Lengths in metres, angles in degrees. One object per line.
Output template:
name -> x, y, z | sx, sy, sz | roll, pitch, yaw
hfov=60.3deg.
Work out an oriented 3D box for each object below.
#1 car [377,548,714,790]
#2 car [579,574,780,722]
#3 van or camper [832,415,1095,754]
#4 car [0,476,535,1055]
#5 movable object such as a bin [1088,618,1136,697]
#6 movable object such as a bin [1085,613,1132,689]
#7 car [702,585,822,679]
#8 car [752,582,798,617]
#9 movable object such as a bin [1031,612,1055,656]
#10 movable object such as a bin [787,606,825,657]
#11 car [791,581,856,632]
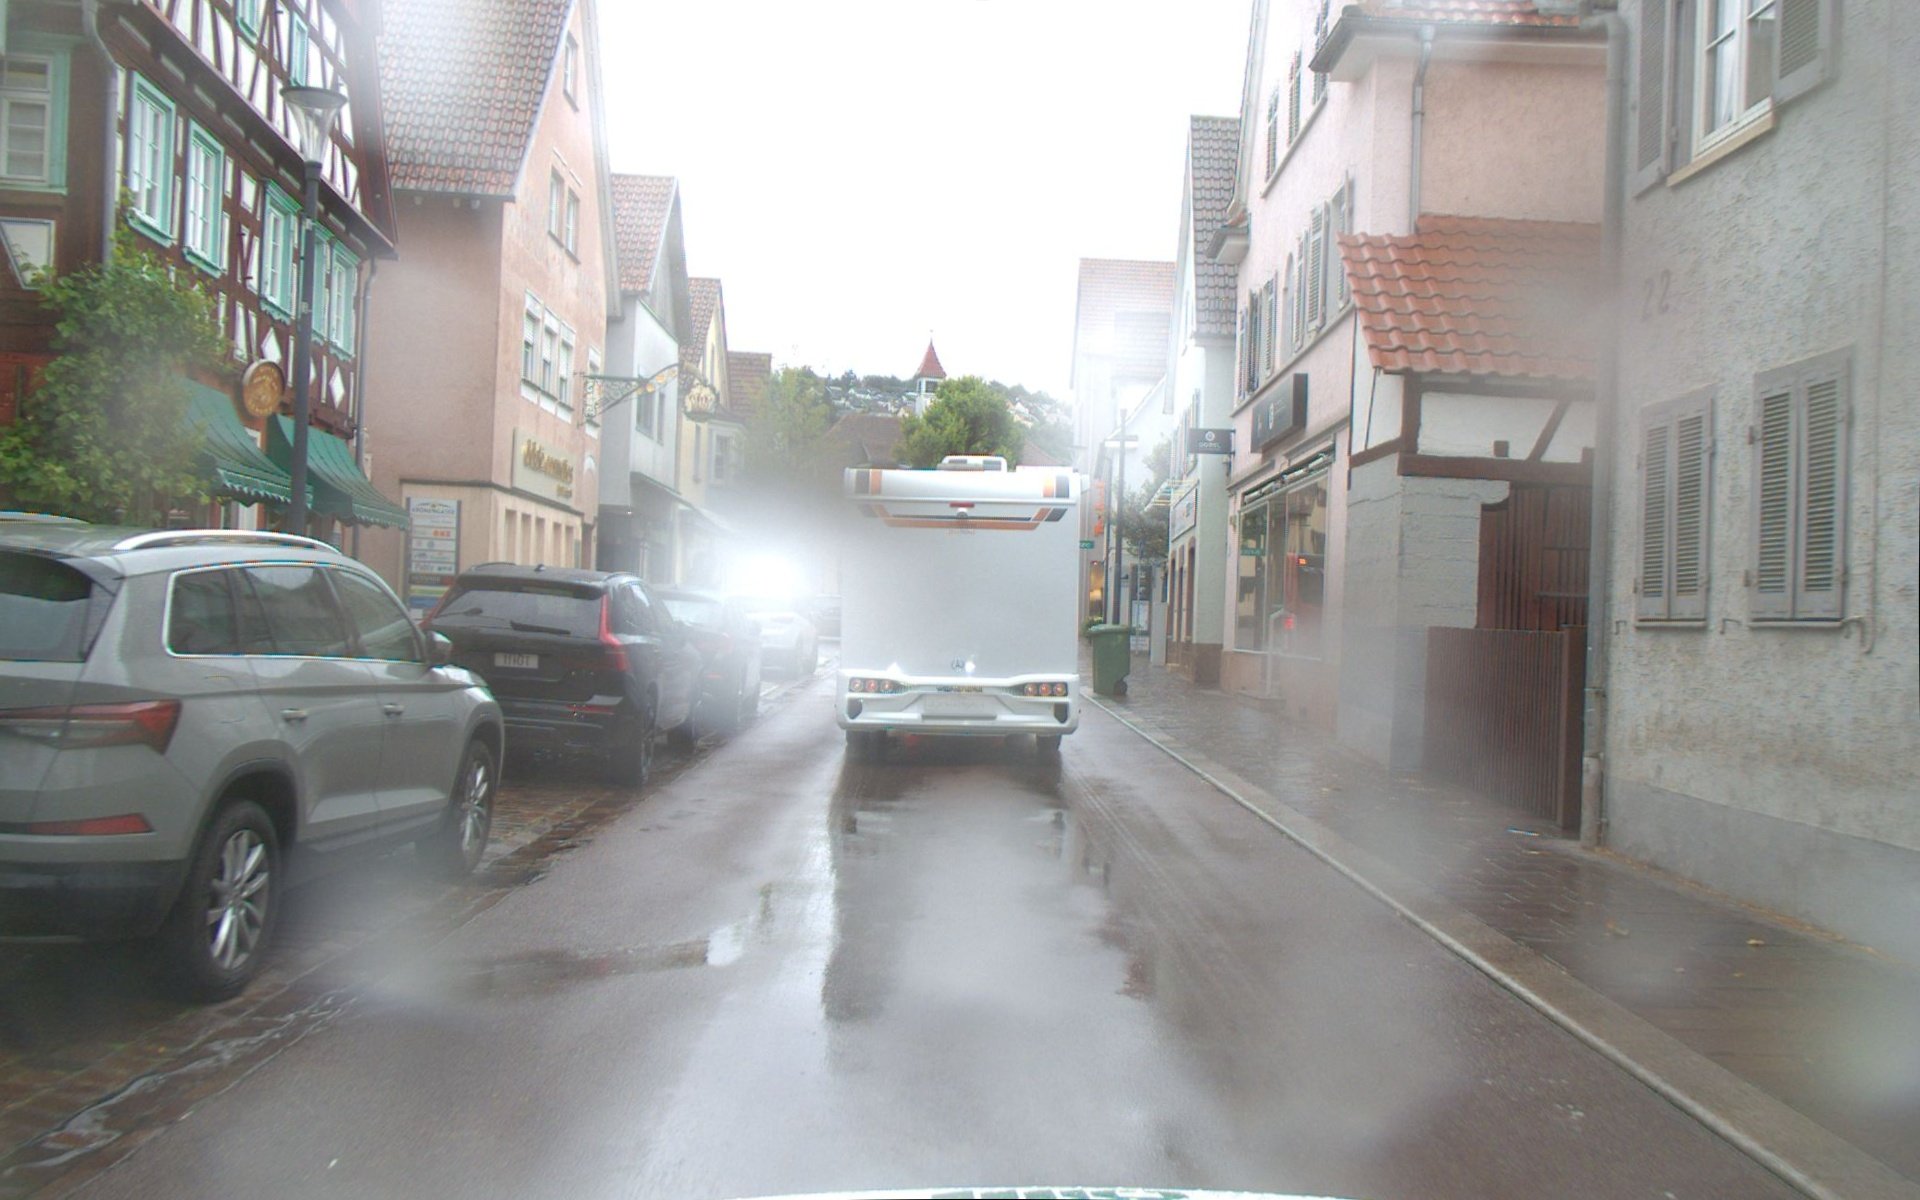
car -> -3.330, 0.538, 14.219 | 1.796, 1.704, 4.538 | 2, -1, -1
car -> -3.325, 0.567, 20.409 | 1.796, 1.579, 4.280 | 2, -1, -1
van or camper -> -0.135, -0.080, 17.960 | 2.280, 2.970, 6.388 | 2, -1, -3
car -> -3.369, 0.496, 7.180 | 1.735, 1.704, 4.479 | 3, -1, 1
movable object such as a bin -> 2.436, 0.917, 26.498 | 0.704, 1.222, 0.573 | 1, -1, 1
movable object such as a bin -> 2.433, 0.829, 27.096 | 0.704, 1.222, 0.578 | 1, -1, 1
car -> -3.646, 0.598, 31.068 | 1.790, 1.594, 3.999 | 2, -1, -1
car -> -11.444, -0.033, 102.231 | 1.963, 2.049, 3.978 | 2, -1, -19
movable object such as a bin -> 2.422, 0.979, 48.234 | 0.645, 1.260, 0.621 | 1, -1, -1
movable object such as a bin -> -3.602, 0.732, 38.660 | 0.799, 1.125, 0.609 | 5, -2, -5
car -> -4.397, 0.192, 52.872 | 1.955, 1.497, 3.995 | 3, 0, -6
